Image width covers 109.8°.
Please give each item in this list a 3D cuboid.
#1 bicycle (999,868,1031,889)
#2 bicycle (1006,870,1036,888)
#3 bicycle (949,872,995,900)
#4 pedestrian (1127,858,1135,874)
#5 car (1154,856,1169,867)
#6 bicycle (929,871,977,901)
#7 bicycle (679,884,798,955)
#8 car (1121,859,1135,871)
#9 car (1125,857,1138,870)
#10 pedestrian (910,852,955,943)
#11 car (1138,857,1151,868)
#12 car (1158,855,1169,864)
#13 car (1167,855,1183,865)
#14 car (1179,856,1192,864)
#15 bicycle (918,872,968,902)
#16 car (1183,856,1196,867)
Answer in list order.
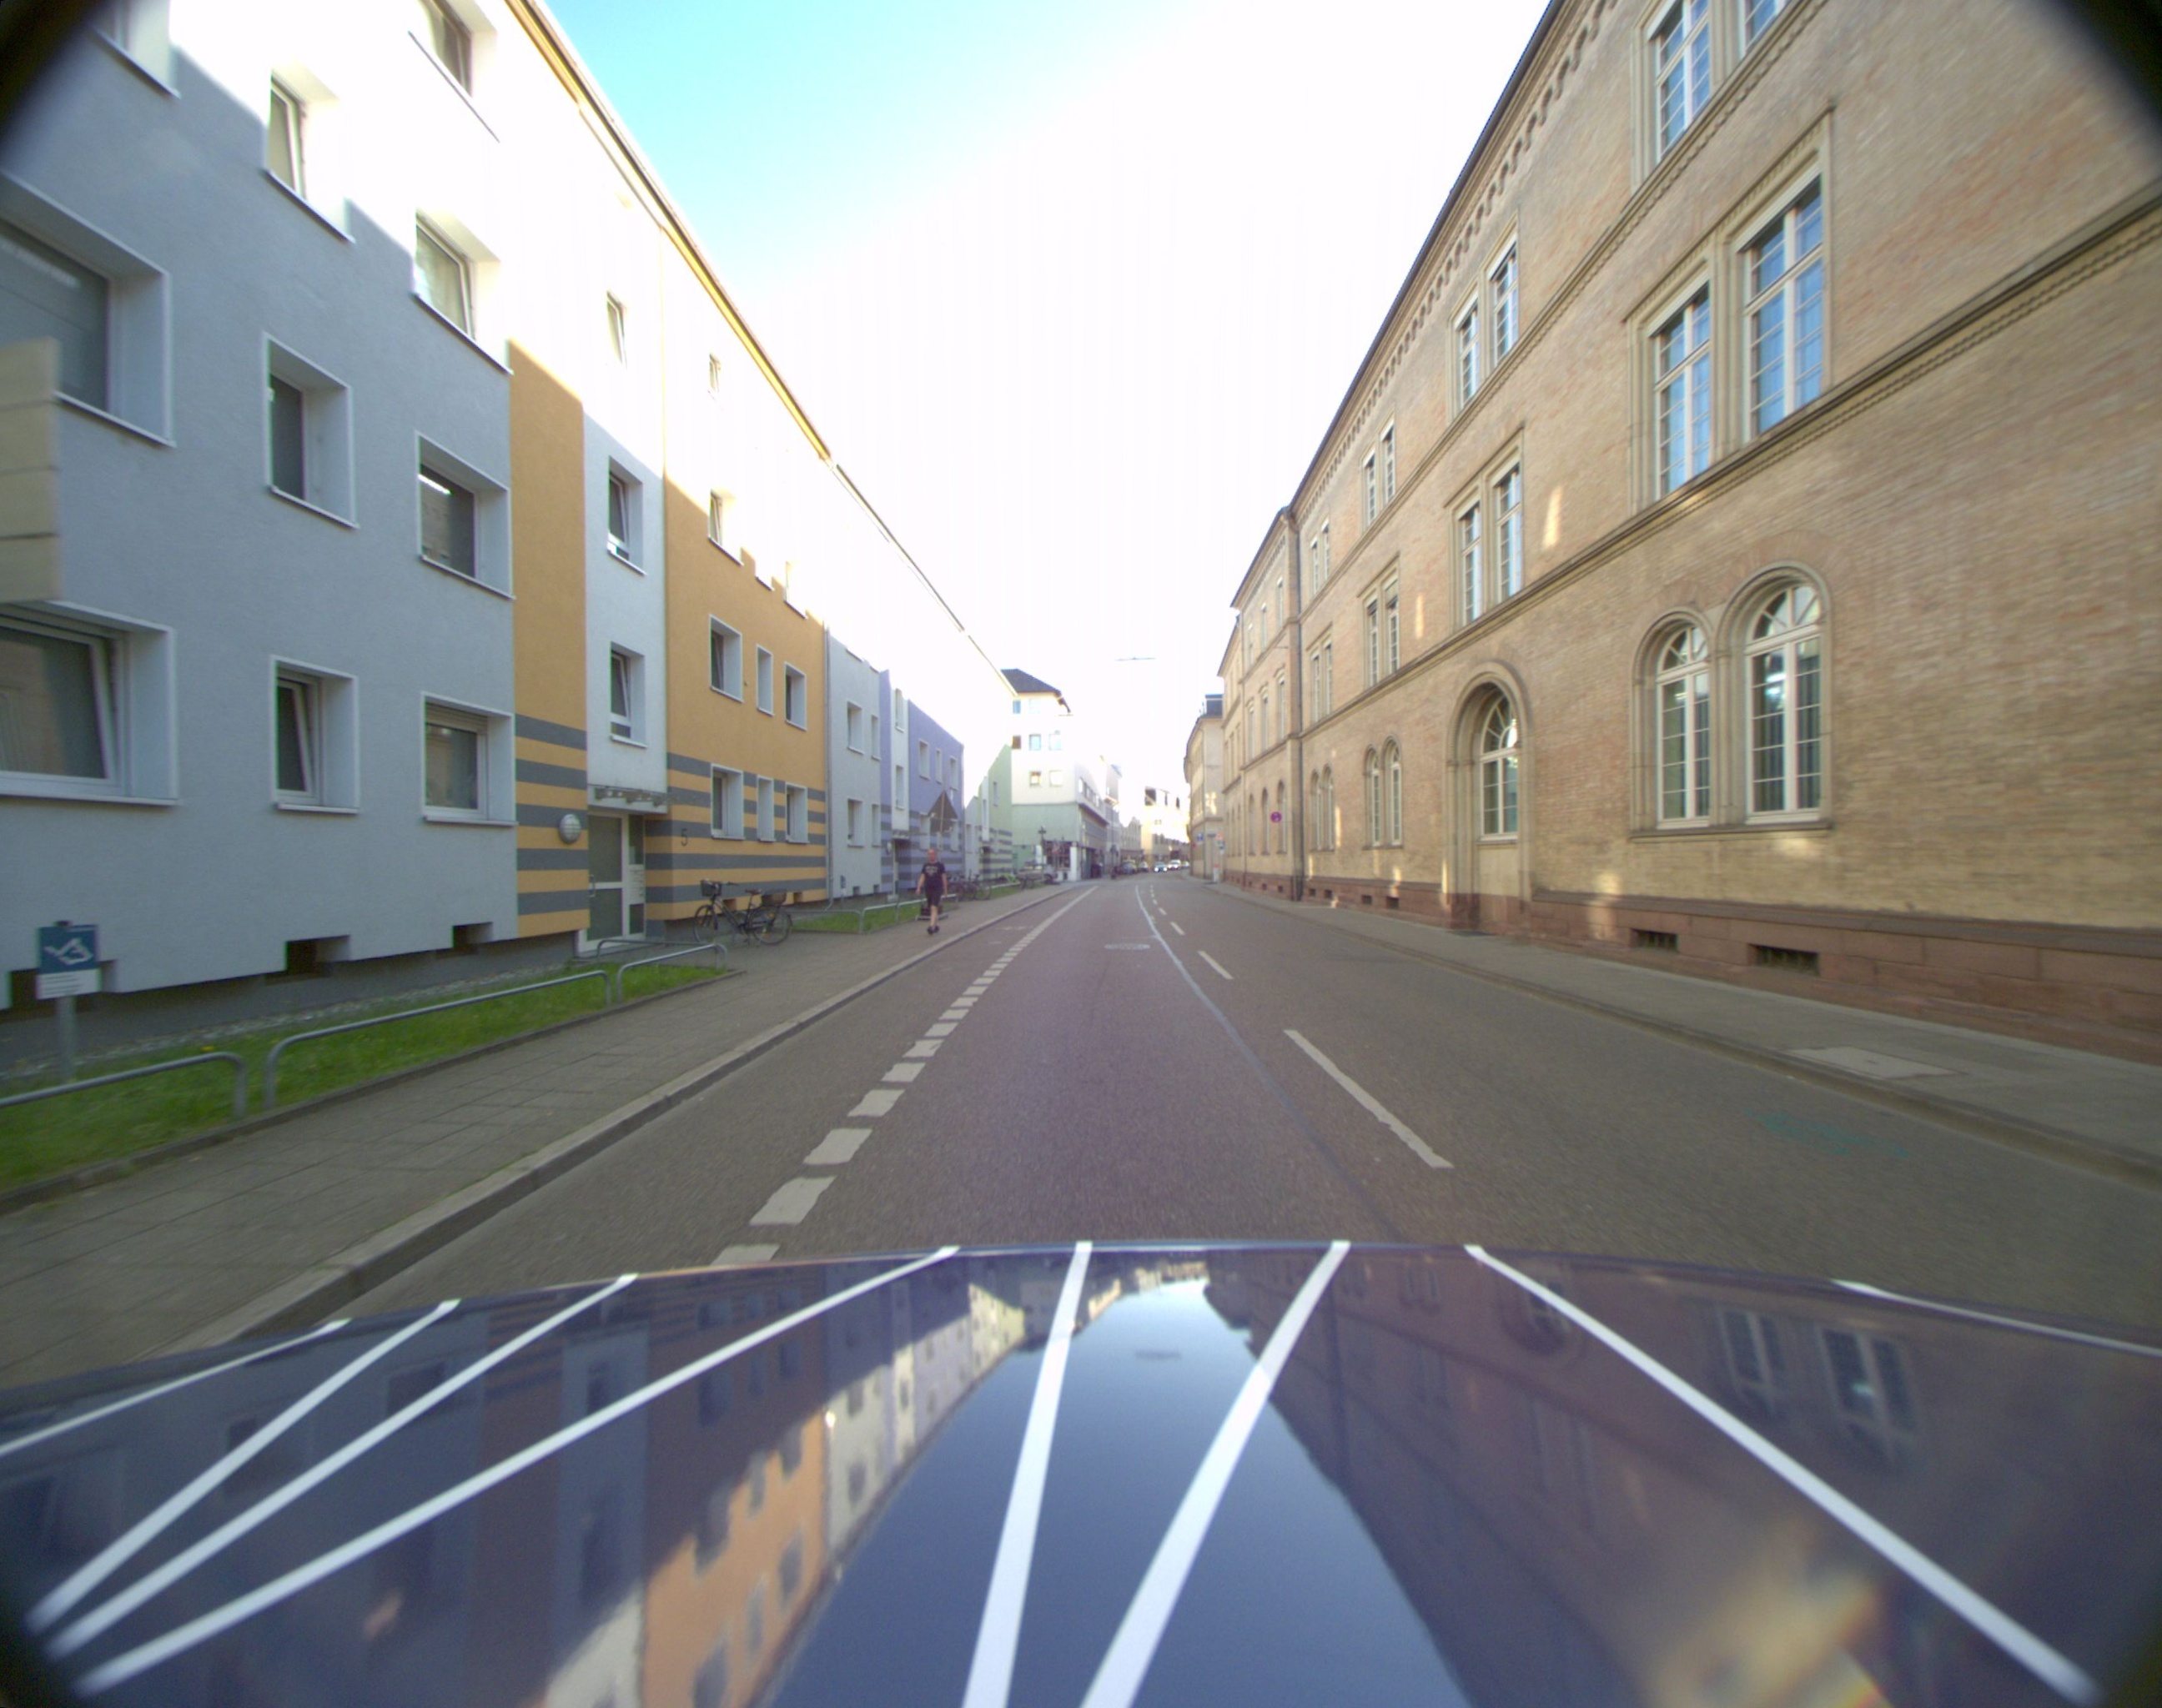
[{"bbox_3d":[-3.645,1.358,41.936,1.711,1.097,0.584,0,0,-3],"label":"bicycle"},{"bbox_3d":[-3.434,1.418,43.402,1.711,0.972,0.516,0,0,-3],"label":"bicycle"},{"bbox_3d":[-4.214,1.238,29.562,1.711,1.029,0.636,0,0,-3],"label":"bicycle"},{"bbox_3d":[4.871,1.179,74.050,0.660,1.509,0.709,-1,0,6],"label":"pedestrian"},{"bbox_3d":[12.676,1.141,118.883,1.860,1.714,3.743,-1,0,13],"label":"car"},{"bbox_3d":[-4.836,1.201,28.783,1.711,1.075,0.636,0,0,0],"label":"bicycle"},{"bbox_3d":[-5.767,1.100,12.860,1.711,1.152,0.636,0,0,-3],"label":"bicycle"},{"bbox_3d":[6.002,1.408,96.849,1.634,1.405,3.687,-1,0,7],"label":"car"},{"bbox_3d":[6.761,1.308,102.136,1.535,1.714,3.741,-1,0,7],"label":"car"},{"bbox_3d":[-3.010,0.855,15.488,0.646,1.778,0.915,2,0,2],"label":"pedestrian"},{"bbox_3d":[9.872,1.310,118.272,1.535,1.714,3.742,-1,0,11],"label":"car"},{"bbox_3d":[15.795,1.021,145.108,1.534,1.714,3.743,-1,0,14],"label":"car"},{"bbox_3d":[16.939,1.118,136.504,1.920,1.712,4.967,-1,0,17],"label":"car"},{"bbox_3d":[21.990,1.223,159.791,1.925,1.714,4.235,-1,0,17],"label":"car"},{"bbox_3d":[-5.008,1.199,27.636,1.710,1.039,0.636,0,0,1],"label":"bicycle"},{"bbox_3d":[16.750,1.111,116.772,1.663,1.714,3.743,-1,0,13],"label":"car"}]
